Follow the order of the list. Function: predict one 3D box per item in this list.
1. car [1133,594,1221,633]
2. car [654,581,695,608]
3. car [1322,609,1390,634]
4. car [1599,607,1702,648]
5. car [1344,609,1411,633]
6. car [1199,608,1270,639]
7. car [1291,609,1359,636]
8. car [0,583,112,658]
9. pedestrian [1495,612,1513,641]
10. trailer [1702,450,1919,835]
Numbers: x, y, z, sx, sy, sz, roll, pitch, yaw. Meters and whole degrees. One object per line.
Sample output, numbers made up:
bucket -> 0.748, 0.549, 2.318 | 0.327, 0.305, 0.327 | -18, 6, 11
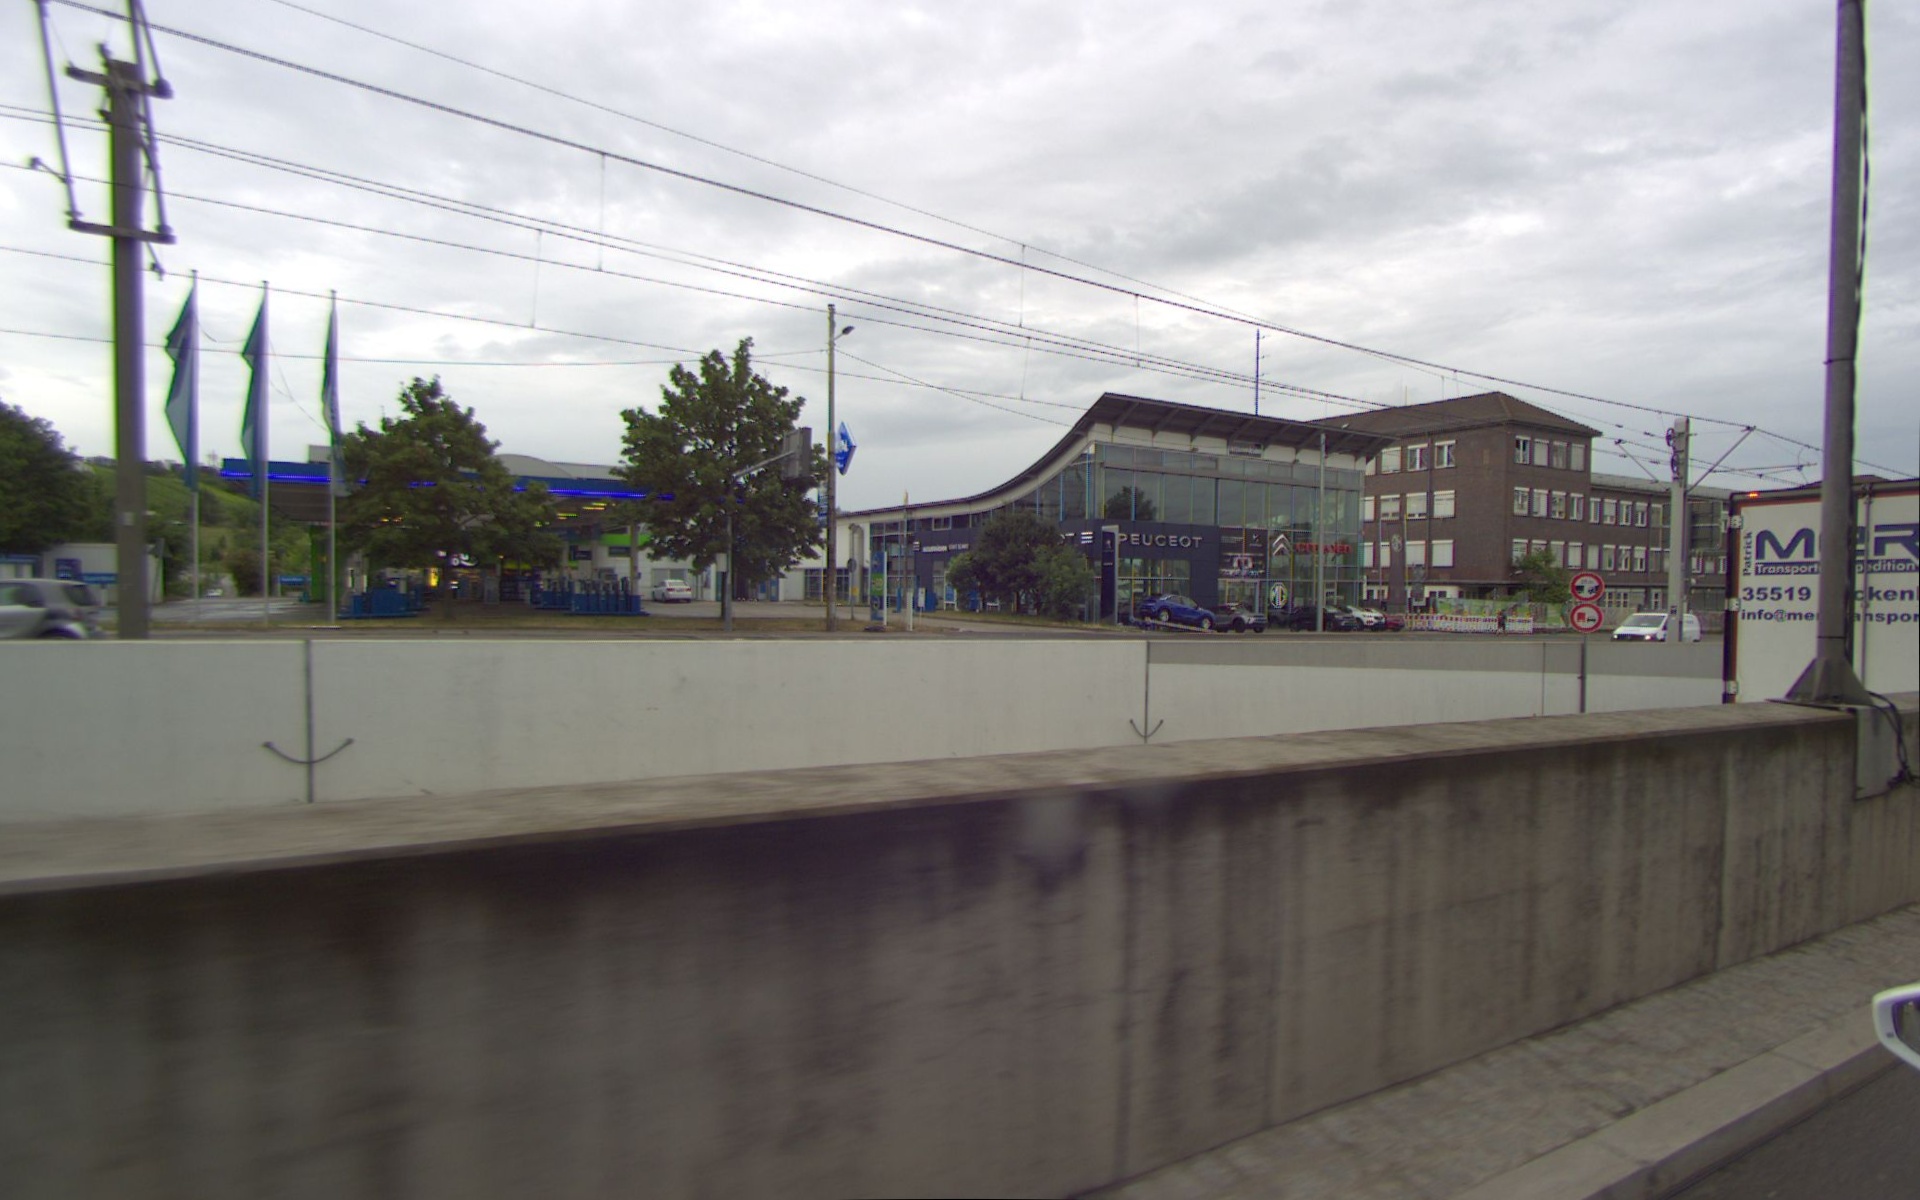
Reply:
car -> 11.059, 0.671, 51.289 | 4.008, 1.630, 1.759 | 5, -2, -21
car -> -18.810, -0.362, 66.120 | 1.834, 1.662, 3.971 | 1, 0, -28
car -> 23.427, 1.261, 59.524 | 1.730, 1.415, 3.464 | 1, -1, -30
car -> 31.138, 1.228, 45.279 | 4.978, 1.718, 1.990 | 1, 0, -32
car -> 25.313, 1.294, 60.998 | 1.601, 1.400, 3.460 | 1, -1, -33
car -> 14.741, 1.255, 53.994 | 1.558, 1.420, 3.484 | 0, -5, -33
car -> 21.136, 1.290, 58.250 | 1.730, 1.493, 3.464 | 1, -1, -30
car -> -17.417, 0.358, 18.346 | 2.771, 1.317, 1.374 | 1, 1, -33
pedestrian -> 33.395, 1.631, 61.650 | 0.830, 1.774, 0.612 | 1, 0, -30
trailer -> 15.965, 0.599, 15.199 | 13.028, 4.309, 2.749 | 1, -1, -30
